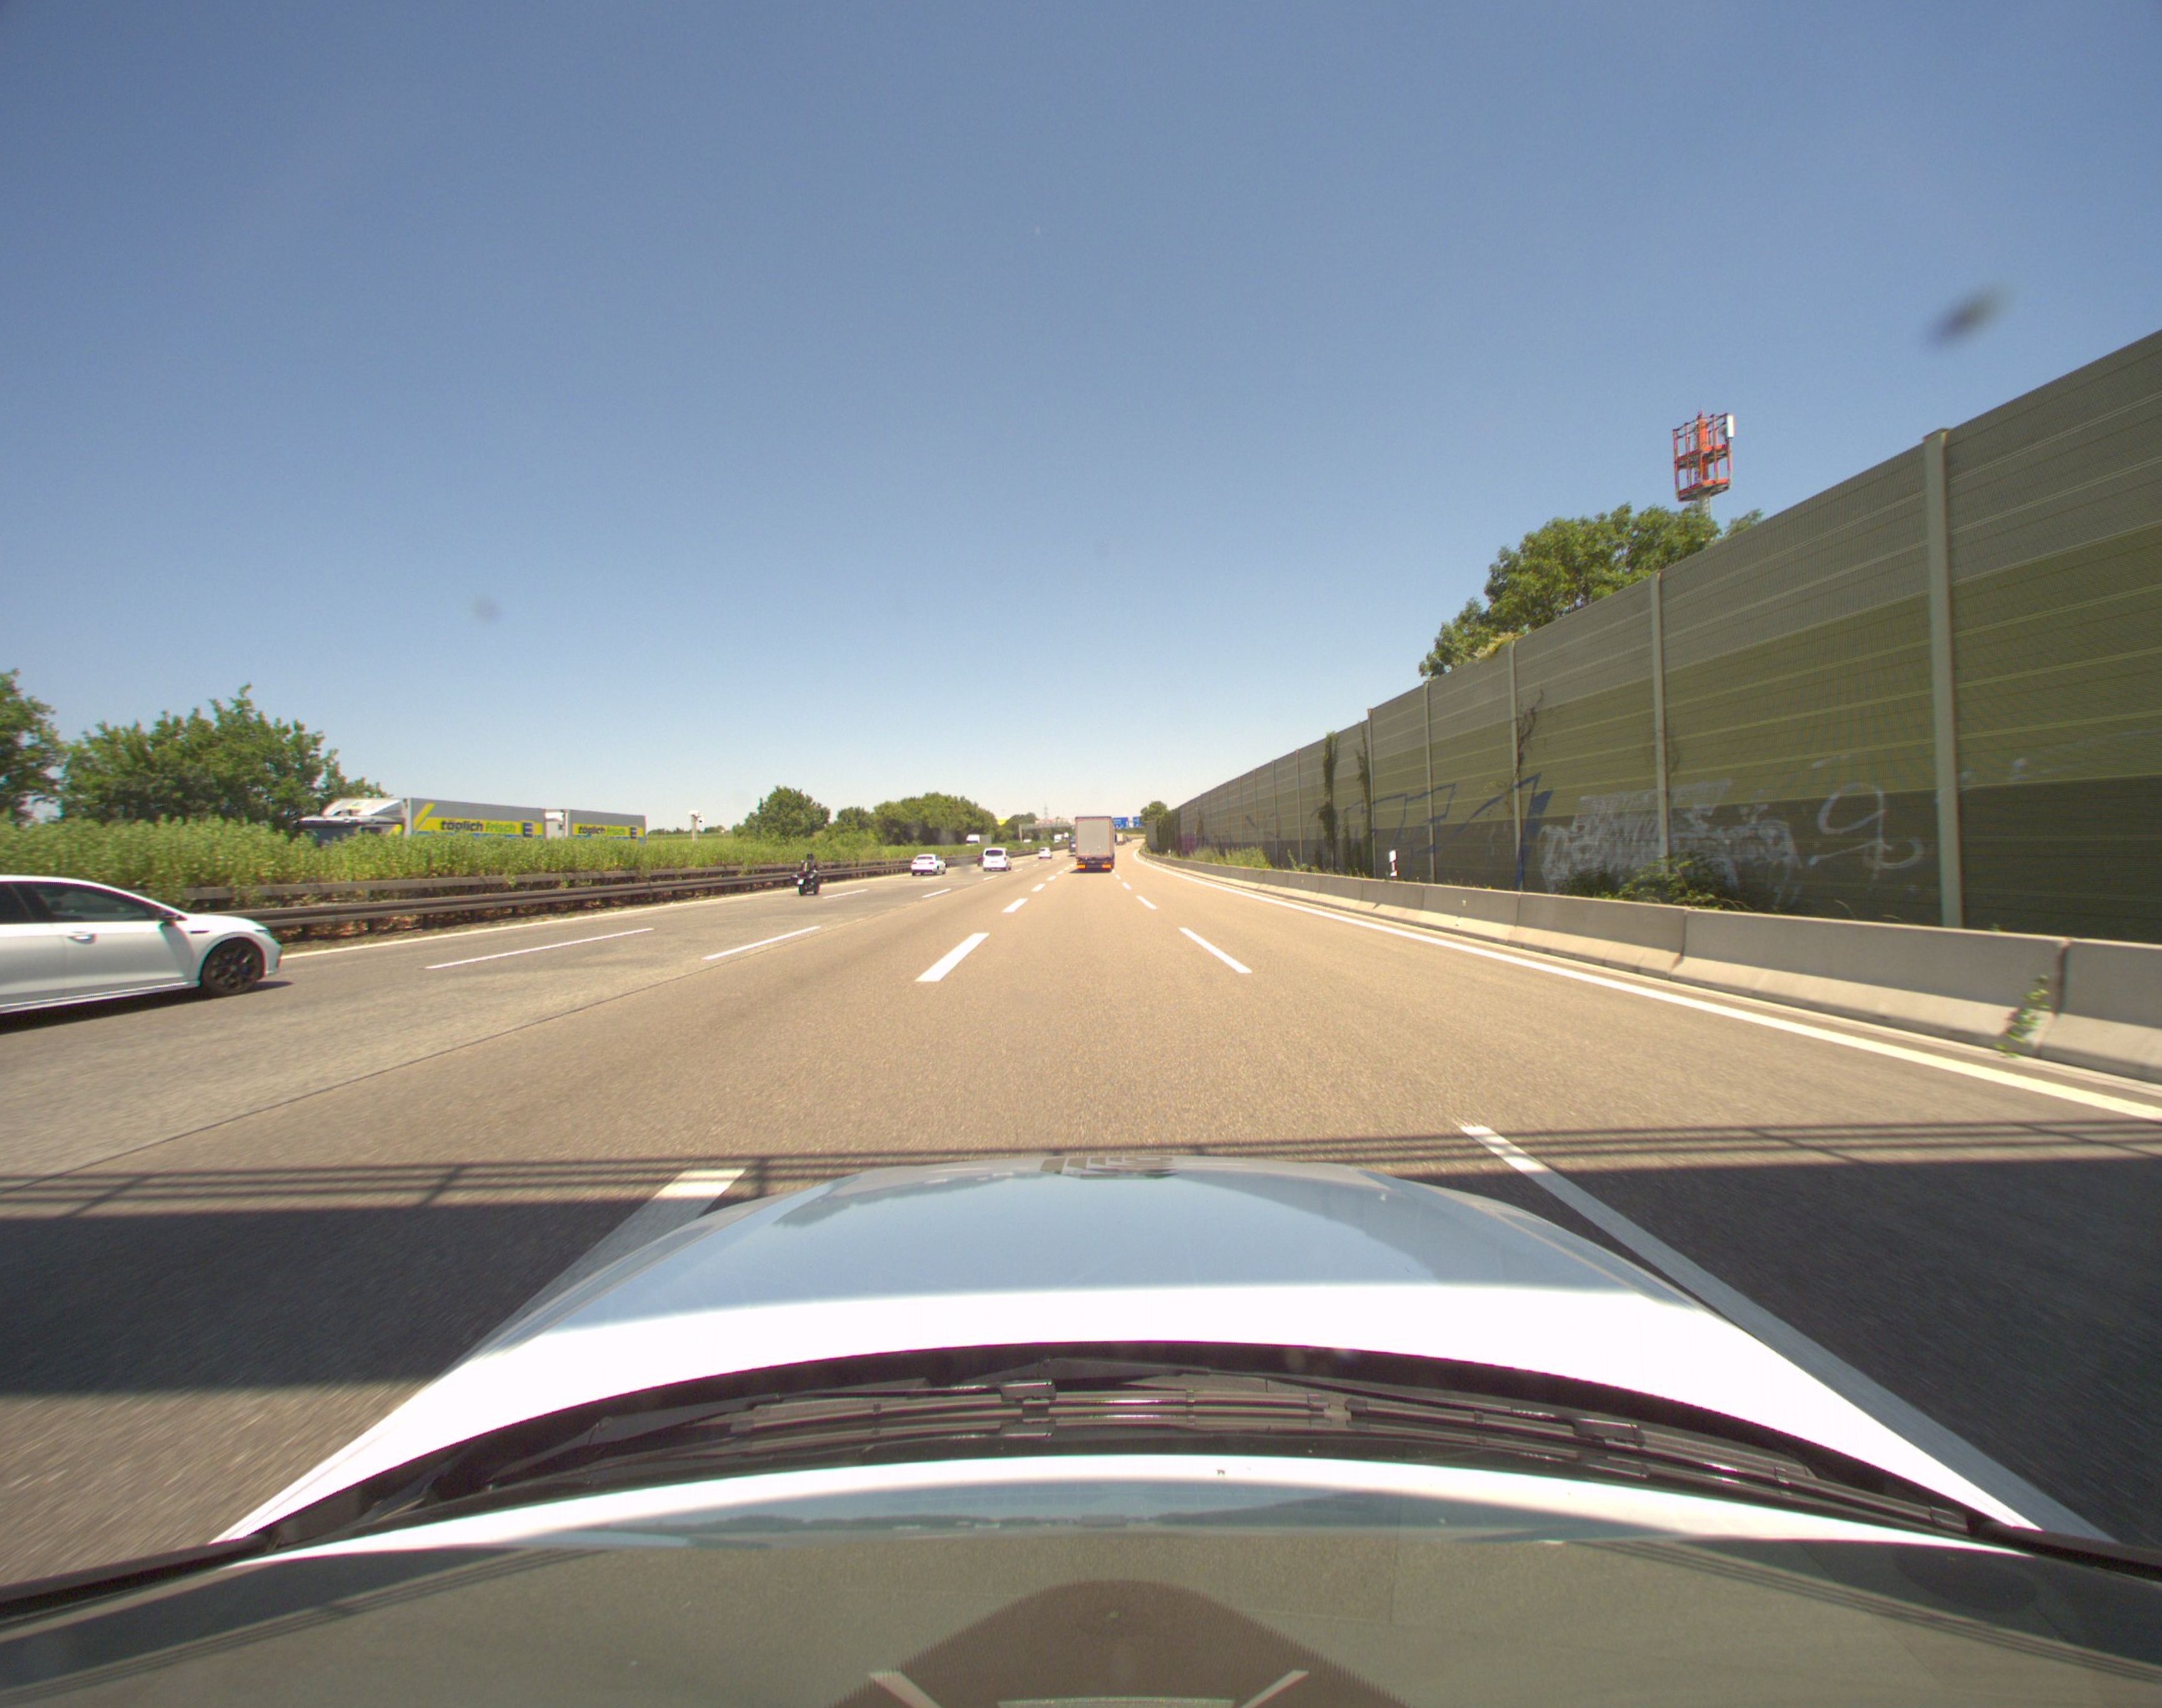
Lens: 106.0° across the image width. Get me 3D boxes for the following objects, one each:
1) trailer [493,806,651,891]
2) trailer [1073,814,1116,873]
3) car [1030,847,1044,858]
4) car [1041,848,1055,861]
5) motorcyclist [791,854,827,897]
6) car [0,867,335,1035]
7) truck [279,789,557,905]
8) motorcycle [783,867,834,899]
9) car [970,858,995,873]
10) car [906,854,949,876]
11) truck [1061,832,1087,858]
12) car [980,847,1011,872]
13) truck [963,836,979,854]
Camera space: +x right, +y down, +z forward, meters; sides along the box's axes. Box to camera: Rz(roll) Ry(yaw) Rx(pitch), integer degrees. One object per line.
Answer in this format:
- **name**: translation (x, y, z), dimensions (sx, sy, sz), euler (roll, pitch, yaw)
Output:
- **trailer**: translation (-26.346, -0.272, 42.839), dimensions (2.914, 3.967, 8.654), euler (-1, 0, -1)
- **trailer**: translation (0.918, -0.755, 62.970), dimensions (2.919, 4.015, 12.036), euler (-2, 0, 0)
- **car**: translation (-8.078, -0.294, 149.121), dimensions (1.896, 1.689, 4.636), euler (-2, 1, 3)
- **car**: translation (-4.926, 0.067, 121.326), dimensions (1.898, 1.851, 4.631), euler (-2, 1, 0)
- **motorcyclist**: translation (-10.483, 0.823, 31.383), dimensions (0.890, 1.597, 1.300), euler (-1, 0, 1)
- **car**: translation (-10.427, 0.905, 8.067), dimensions (1.776, 1.440, 4.667), euler (-2, 0, -1)
- **truck**: translation (-26.224, -0.238, 33.296), dimensions (2.993, 3.967, 10.317), euler (-1, 0, -1)
- **motorcycle**: translation (-10.463, 1.084, 31.401), dimensions (0.909, 1.089, 2.850), euler (-1, 0, 2)
- **car**: translation (-10.358, 1.202, 85.680), dimensions (1.750, 1.408, 5.042), euler (-2, -1, 2)
- **car**: translation (-10.698, 0.730, 57.280), dimensions (1.869, 1.440, 5.128), euler (-1, 0, 2)
- **truck**: translation (-1.207, -1.645, 144.304), dimensions (3.732, 4.269, 14.507), euler (-1, 1, 3)
- **car**: translation (-6.908, 0.477, 66.260), dimensions (1.924, 1.852, 4.691), euler (-2, -1, 0)
- **truck**: translation (-24.526, -2.039, 181.819), dimensions (2.528, 3.947, 5.170), euler (-1, 0, 2)
